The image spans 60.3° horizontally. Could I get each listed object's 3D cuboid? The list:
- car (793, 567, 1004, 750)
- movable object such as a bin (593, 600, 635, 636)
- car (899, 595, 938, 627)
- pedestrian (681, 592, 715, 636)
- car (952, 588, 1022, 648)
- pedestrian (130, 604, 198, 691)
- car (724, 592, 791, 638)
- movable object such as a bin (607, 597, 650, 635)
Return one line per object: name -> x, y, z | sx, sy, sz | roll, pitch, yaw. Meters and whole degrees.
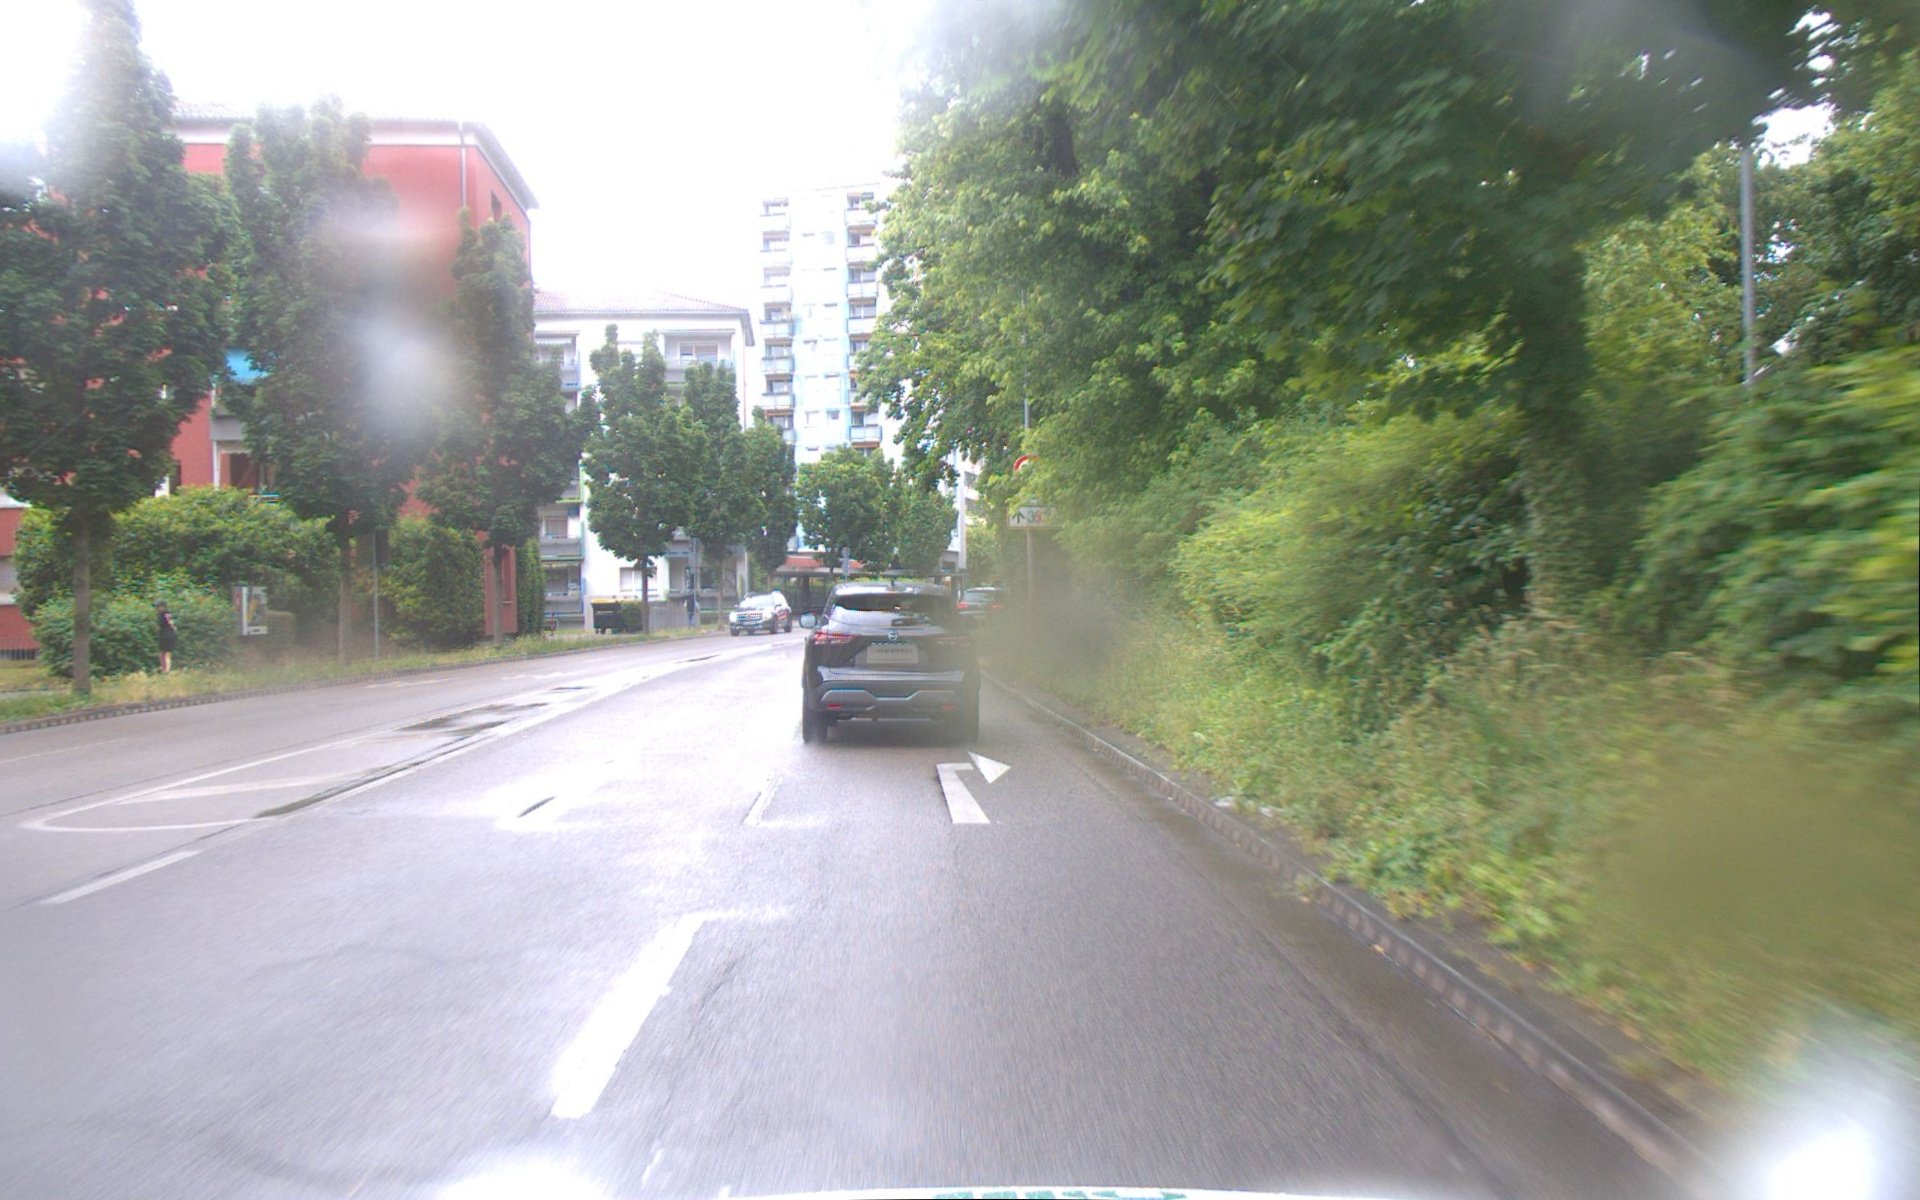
car -> -0.786, 0.547, 17.866 | 1.922, 1.681, 3.994 | -2, 0, -7
movable object such as a bin -> -13.871, 0.702, 66.405 | 1.133, 1.354, 1.967 | -2, 0, 4
car -> -2.227, 0.595, 90.200 | 1.640, 1.590, 4.145 | 2, 1, 5
pedestrian -> -11.272, 0.581, 71.241 | 1.110, 1.835, 1.264 | -2, 0, 6
car -> 1.010, 0.623, 59.557 | 1.951, 2.049, 4.004 | -2, 0, 9
pedestrian -> -14.714, 0.866, 30.602 | 0.678, 1.544, 1.070 | -2, 0, 0
car -> -8.104, 0.558, 66.545 | 1.882, 1.659, 4.503 | -3, 0, 3
movable object such as a bin -> -13.725, 0.658, 68.579 | 1.190, 1.510, 2.088 | -2, 0, 4
